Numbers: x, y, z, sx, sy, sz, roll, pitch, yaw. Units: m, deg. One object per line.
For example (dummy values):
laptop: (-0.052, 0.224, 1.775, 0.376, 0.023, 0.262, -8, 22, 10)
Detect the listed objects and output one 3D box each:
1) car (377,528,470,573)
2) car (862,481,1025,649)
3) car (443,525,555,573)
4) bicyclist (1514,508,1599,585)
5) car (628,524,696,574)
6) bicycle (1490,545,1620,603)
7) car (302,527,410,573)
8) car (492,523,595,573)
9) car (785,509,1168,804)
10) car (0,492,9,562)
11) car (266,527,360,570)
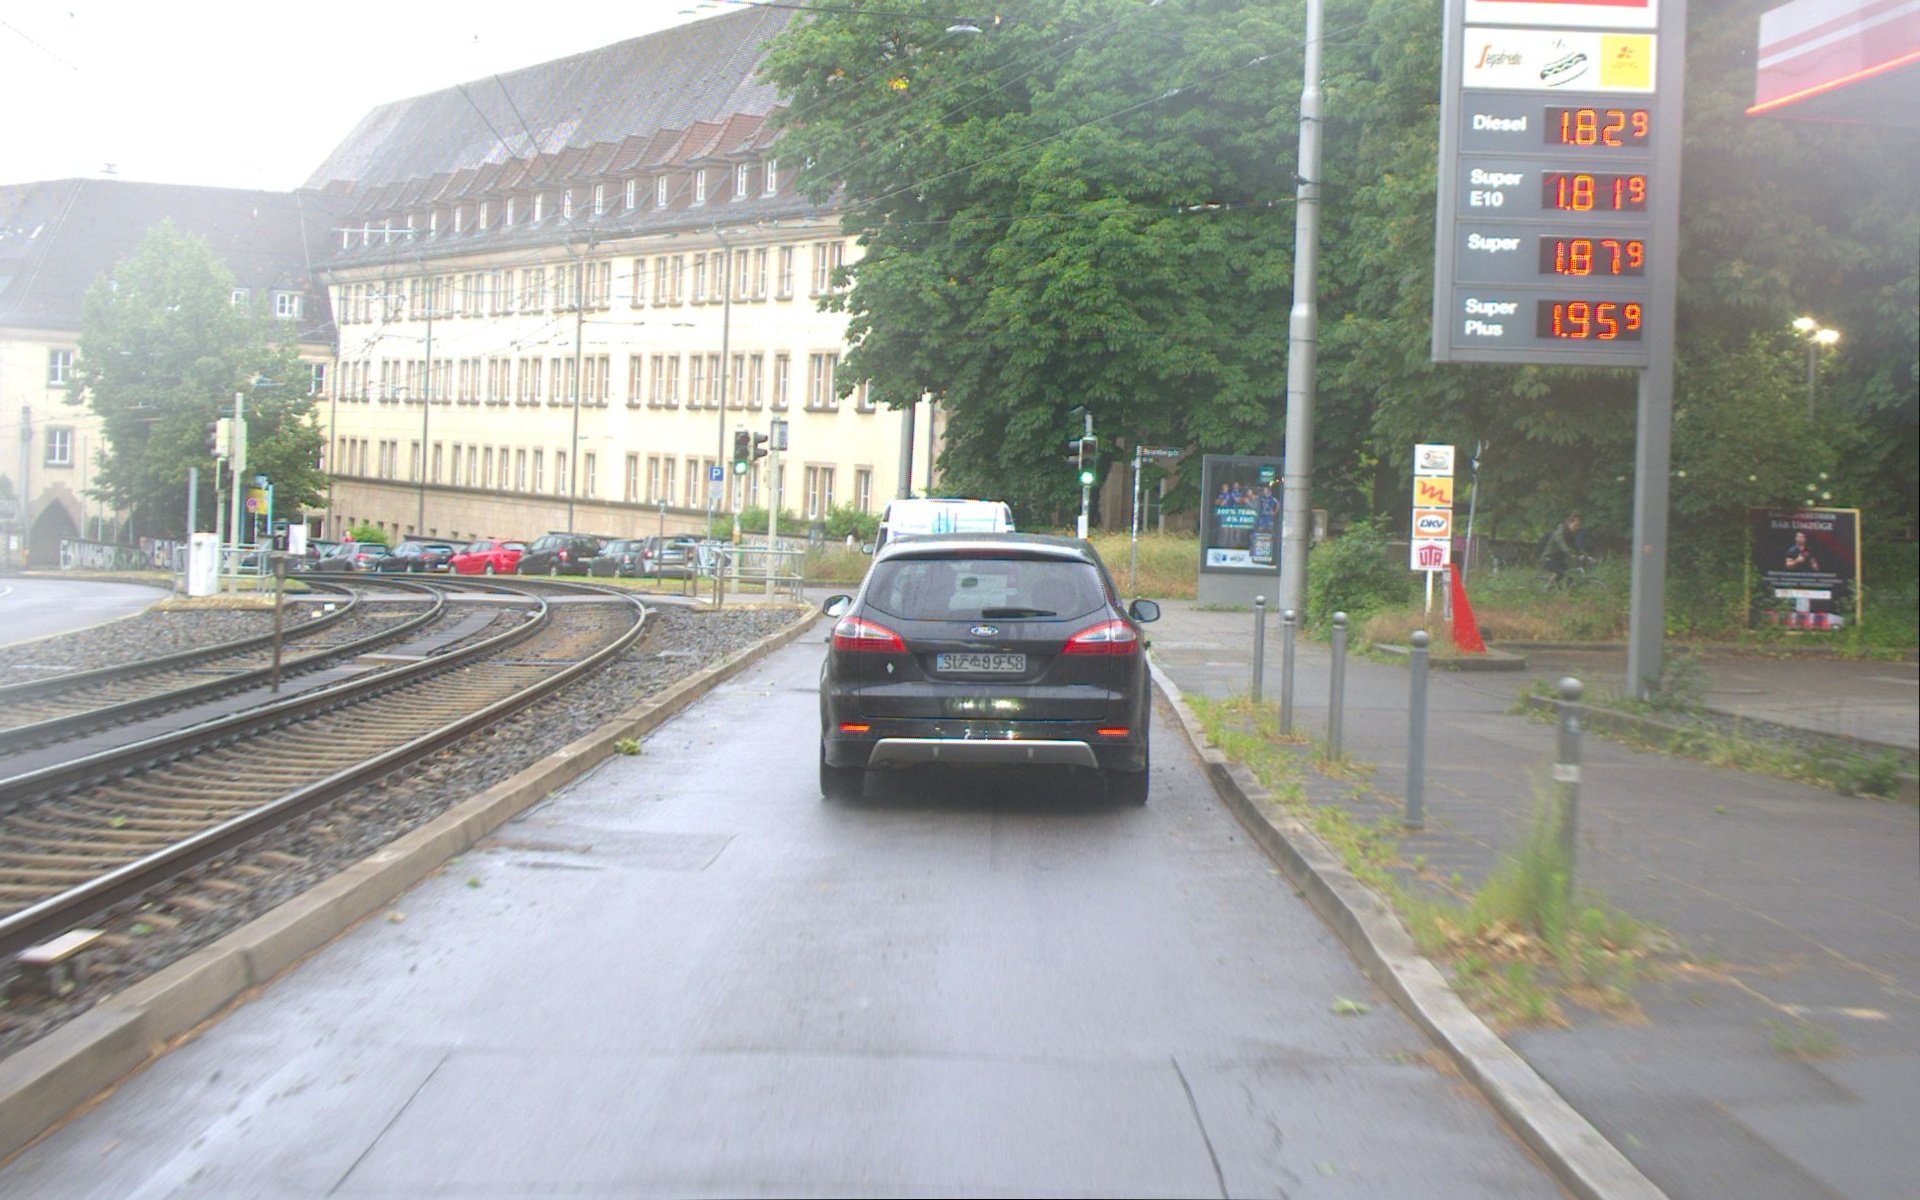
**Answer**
car: (-19.176, -1.775, 122.841, 1.993, 1.537, 4.001, 0, 1, -29)
car: (-0.260, -0.453, 44.082, 1.740, 2.007, 3.904, 2, 1, -5)
car: (-15.877, -1.763, 118.266, 1.994, 1.537, 3.999, 1, 1, -38)
bicyclist: (9.282, -0.840, 53.485, 0.736, 1.175, 1.077, -1, 2, -39)
car: (-9.146, -1.569, 105.478, 1.656, 1.471, 3.645, 2, 1, -11)
bicycle: (9.261, -0.416, 53.536, 0.736, 0.865, 1.997, -1, 2, -39)
car: (-22.178, -1.842, 126.163, 1.994, 1.537, 3.998, 1, 1, -43)
car: (-13.821, -1.733, 113.857, 1.581, 1.537, 3.999, 1, 1, -37)
car: (0.117, 0.274, 20.065, 1.933, 1.448, 4.317, 3, 1, 1)
car: (-22.278, -1.640, 76.265, 1.993, 1.537, 4.001, 2, 1, -12)
car: (-24.524, -1.962, 130.213, 1.994, 1.537, 4.000, 1, 1, -35)
